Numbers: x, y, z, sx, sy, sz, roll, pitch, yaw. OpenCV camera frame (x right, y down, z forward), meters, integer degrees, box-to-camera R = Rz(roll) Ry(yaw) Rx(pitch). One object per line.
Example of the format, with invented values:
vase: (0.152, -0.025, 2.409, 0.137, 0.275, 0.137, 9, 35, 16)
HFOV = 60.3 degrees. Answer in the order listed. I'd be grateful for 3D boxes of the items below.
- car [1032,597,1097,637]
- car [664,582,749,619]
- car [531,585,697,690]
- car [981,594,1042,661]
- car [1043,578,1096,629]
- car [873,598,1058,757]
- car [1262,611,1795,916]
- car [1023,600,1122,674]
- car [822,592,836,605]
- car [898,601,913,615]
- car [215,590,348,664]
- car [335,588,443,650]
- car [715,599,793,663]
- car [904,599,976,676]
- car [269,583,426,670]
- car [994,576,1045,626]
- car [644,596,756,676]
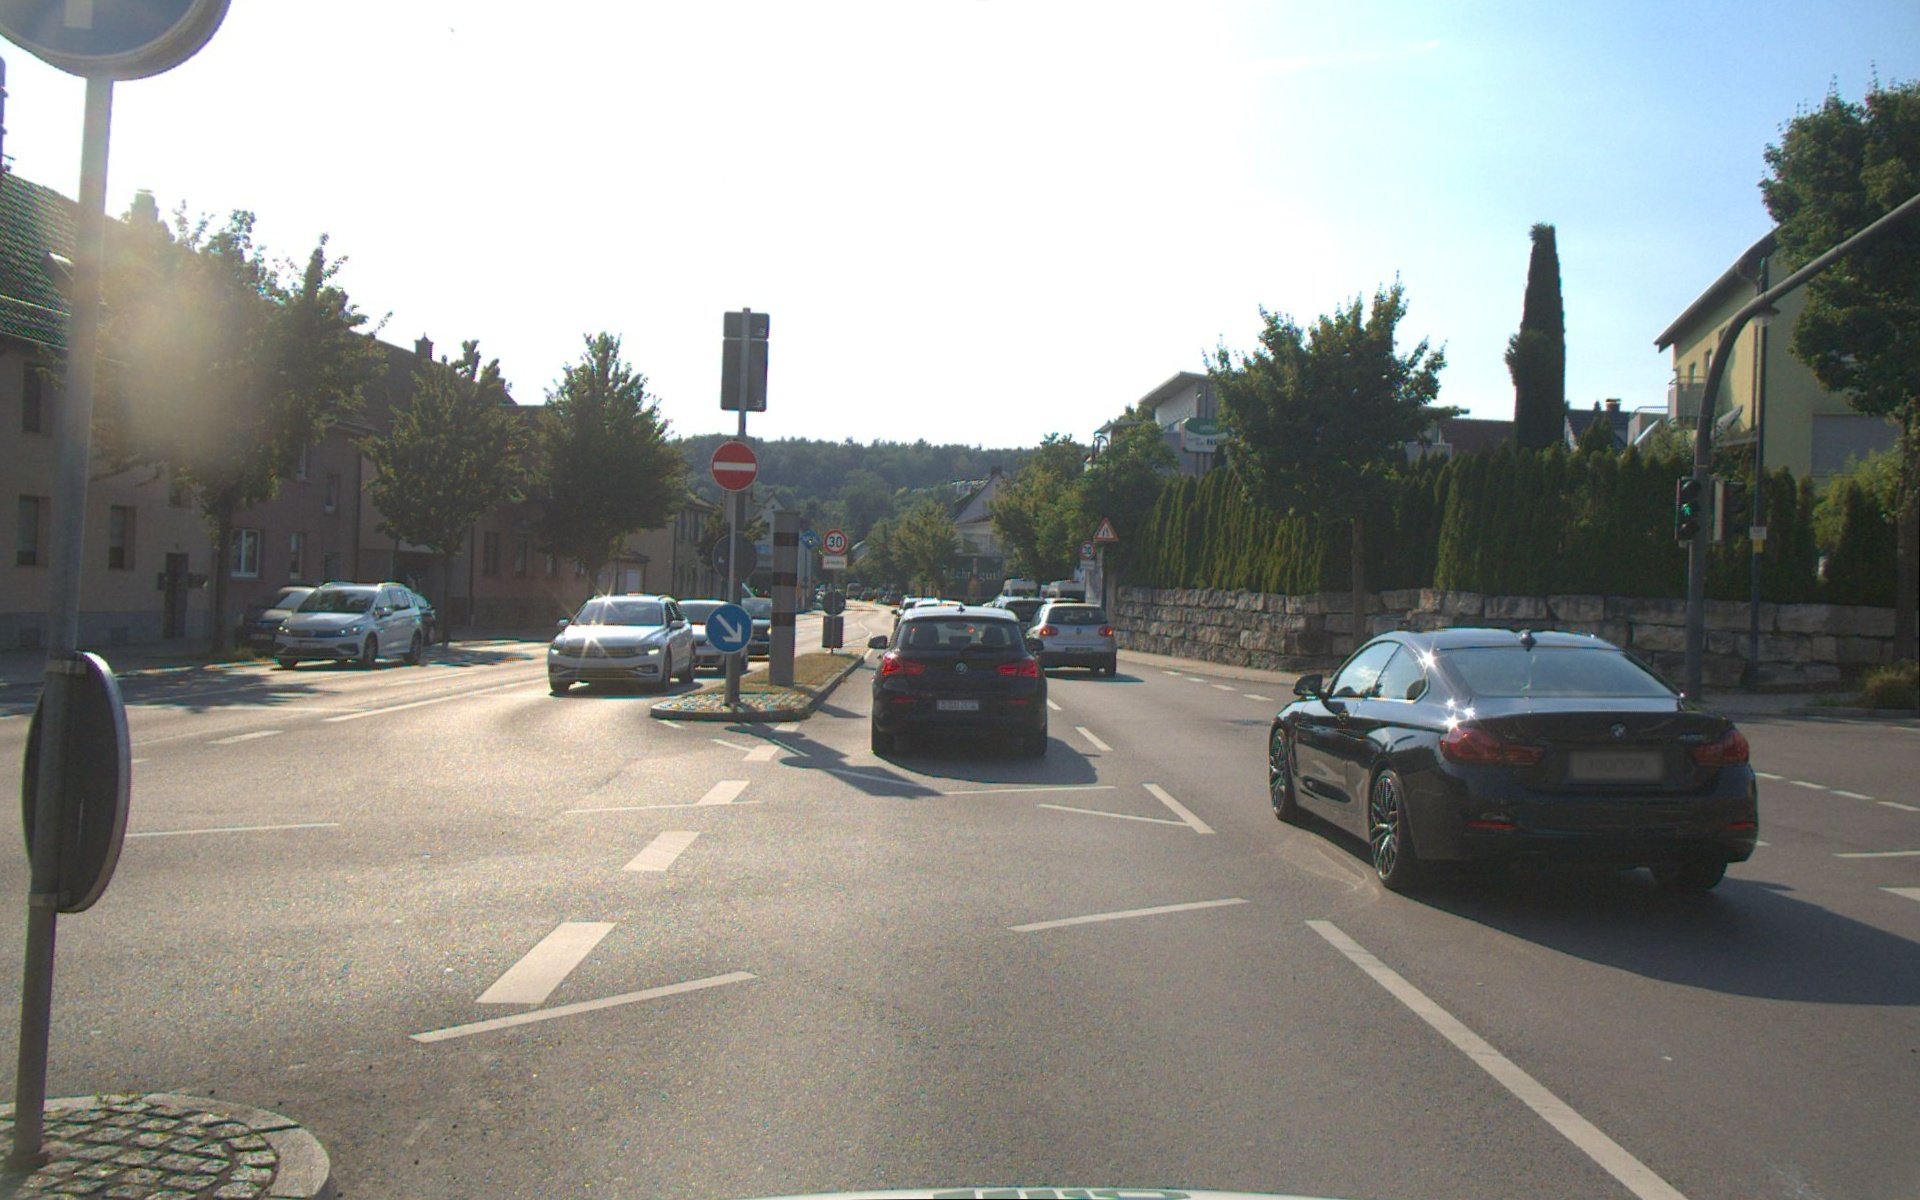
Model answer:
car: (4.554, 0.714, 72.947, 1.801, 1.678, 4.527, 1, 0, -10)
car: (-18.861, 0.043, 123.285, 6.036, 2.487, 2.248, 2, 0, -3)
car: (-5.481, 0.543, 26.771, 1.798, 1.514, 4.565, 1, 0, -2)
car: (1.458, 0.748, 47.426, 1.570, 1.798, 3.410, 1, 0, -1)
car: (6.200, 0.170, 94.713, 2.070, 2.769, 6.437, 1, 0, -5)
car: (-0.004, 0.722, 17.271, 1.736, 1.482, 3.514, 0, 0, -2)
car: (3.126, 0.804, 10.079, 1.665, 1.393, 4.261, 1, 0, -2)
car: (2.327, 0.751, 34.947, 1.718, 1.438, 3.420, 1, 0, -2)
car: (-16.022, -0.199, 202.374, 1.565, 1.511, 3.472, 2, 0, -4)
car: (-6.301, 0.885, 190.673, 1.565, 1.511, 3.472, 2, 0, -4)
car: (-15.435, 0.577, 37.798, 1.482, 1.537, 3.884, 3, 0, -2)
car: (-15.125, 0.469, 43.994, 1.586, 1.537, 4.131, 1, 0, -3)
car: (-5.130, 0.748, 41.488, 1.501, 1.487, 3.506, 1, 0, 0)
car: (-0.496, 0.813, 38.057, 1.559, 1.628, 3.892, 1, 0, -2)
car: (-12.430, 0.507, 33.858, 1.652, 1.640, 4.412, 1, 0, -2)
car: (3.359, 0.024, 94.407, 2.107, 2.727, 6.597, 1, 0, -4)
car: (-5.074, 0.685, 32.627, 1.556, 1.452, 3.578, 1, 0, 1)
